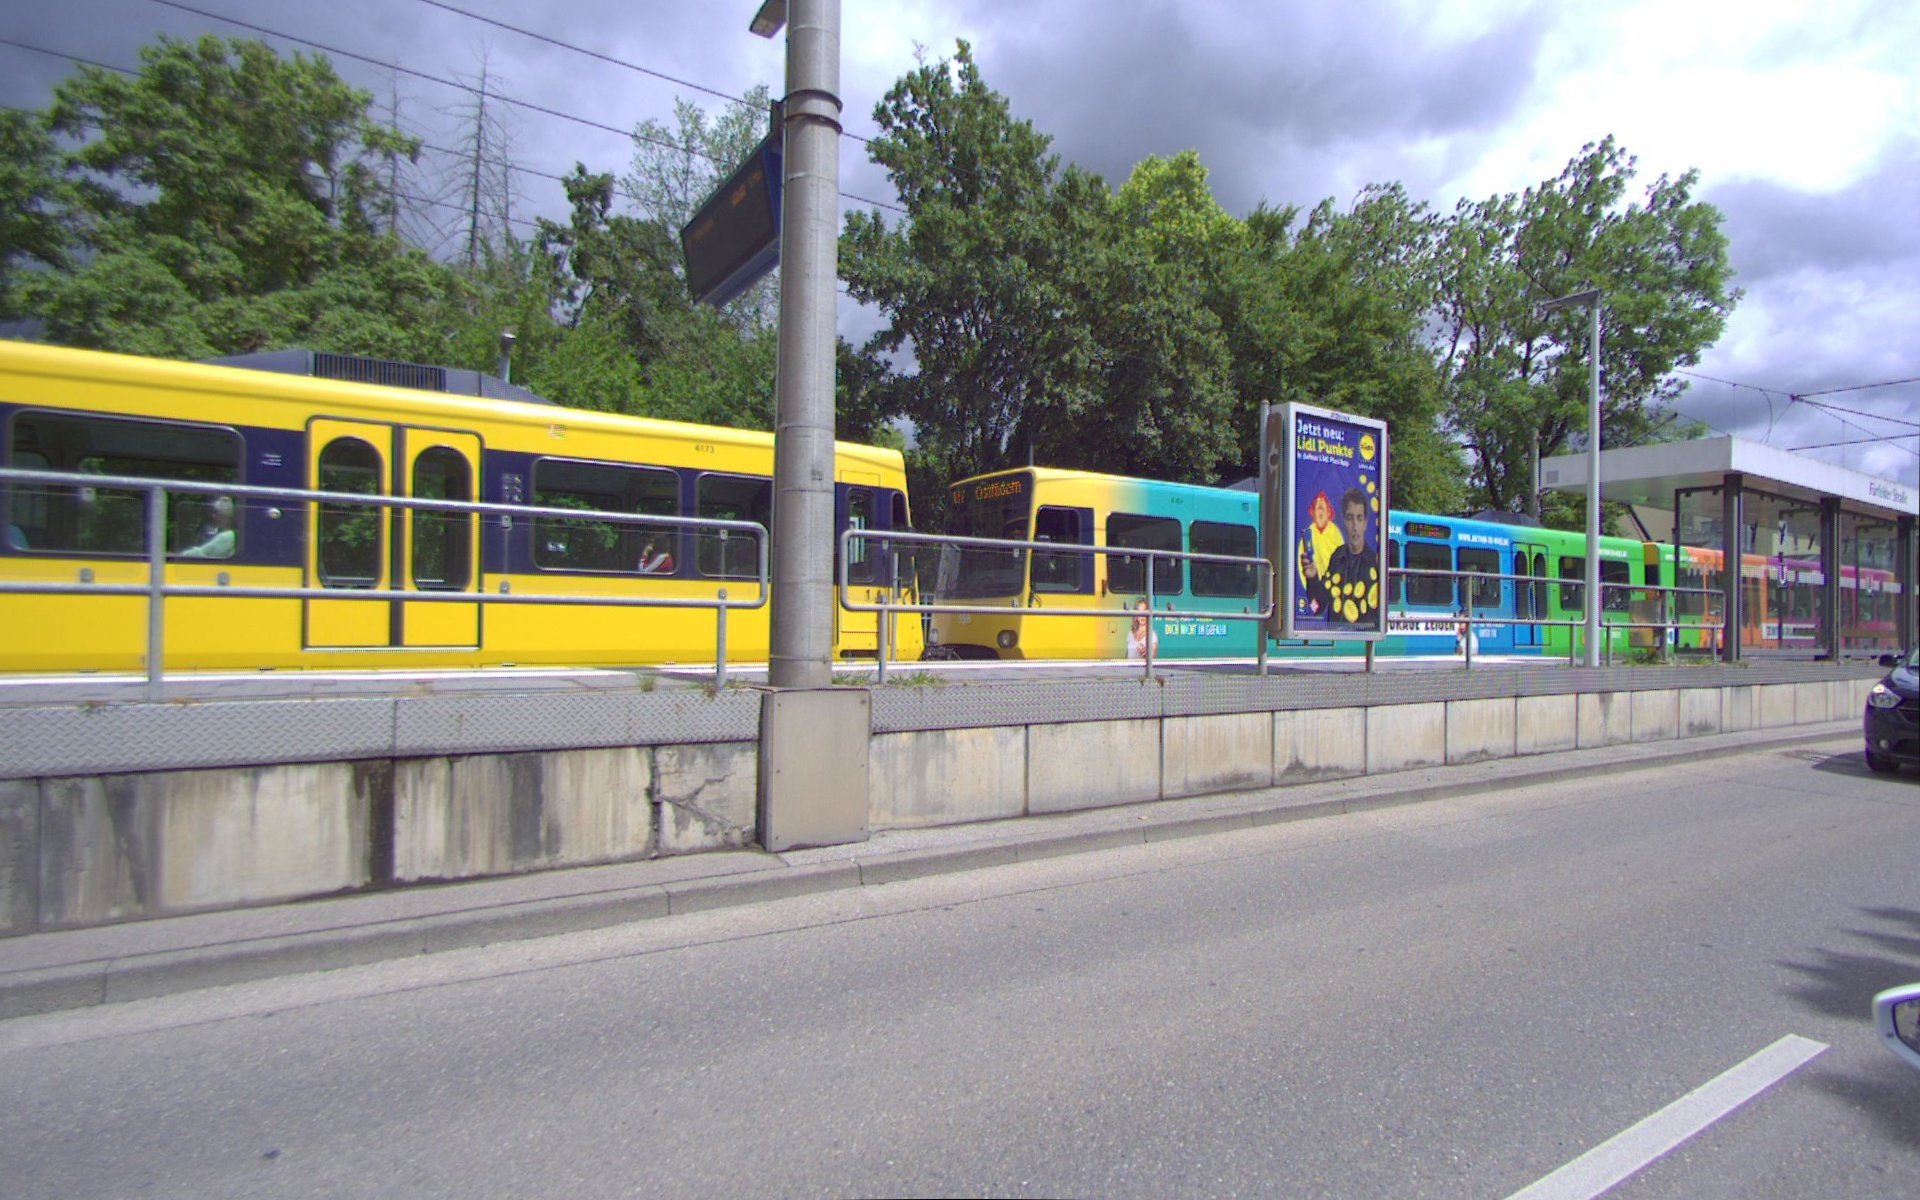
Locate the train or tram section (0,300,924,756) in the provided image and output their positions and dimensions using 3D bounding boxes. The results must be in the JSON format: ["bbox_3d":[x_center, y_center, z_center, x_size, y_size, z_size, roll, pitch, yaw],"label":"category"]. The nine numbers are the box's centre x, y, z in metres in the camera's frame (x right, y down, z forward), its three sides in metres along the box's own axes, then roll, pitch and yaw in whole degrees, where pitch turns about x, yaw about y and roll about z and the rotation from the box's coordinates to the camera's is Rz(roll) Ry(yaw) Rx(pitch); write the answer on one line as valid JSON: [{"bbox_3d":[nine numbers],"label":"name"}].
[{"bbox_3d":[-9.130,-0.599,8.451,18.795,3.511,3.089,1,0,-34],"label":"train or tram section"}]

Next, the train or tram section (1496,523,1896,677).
[{"bbox_3d":[22.328,0.160,29.405,18.887,3.511,3.089,1,0,-34],"label":"train or tram section"}]

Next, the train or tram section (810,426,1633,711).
[{"bbox_3d":[6.542,-0.221,18.932,18.995,3.511,3.089,1,0,-34],"label":"train or tram section"}]

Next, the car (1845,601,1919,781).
[{"bbox_3d":[11.113,0.918,10.462,4.340,1.705,1.710,1,0,-33],"label":"car"}]
